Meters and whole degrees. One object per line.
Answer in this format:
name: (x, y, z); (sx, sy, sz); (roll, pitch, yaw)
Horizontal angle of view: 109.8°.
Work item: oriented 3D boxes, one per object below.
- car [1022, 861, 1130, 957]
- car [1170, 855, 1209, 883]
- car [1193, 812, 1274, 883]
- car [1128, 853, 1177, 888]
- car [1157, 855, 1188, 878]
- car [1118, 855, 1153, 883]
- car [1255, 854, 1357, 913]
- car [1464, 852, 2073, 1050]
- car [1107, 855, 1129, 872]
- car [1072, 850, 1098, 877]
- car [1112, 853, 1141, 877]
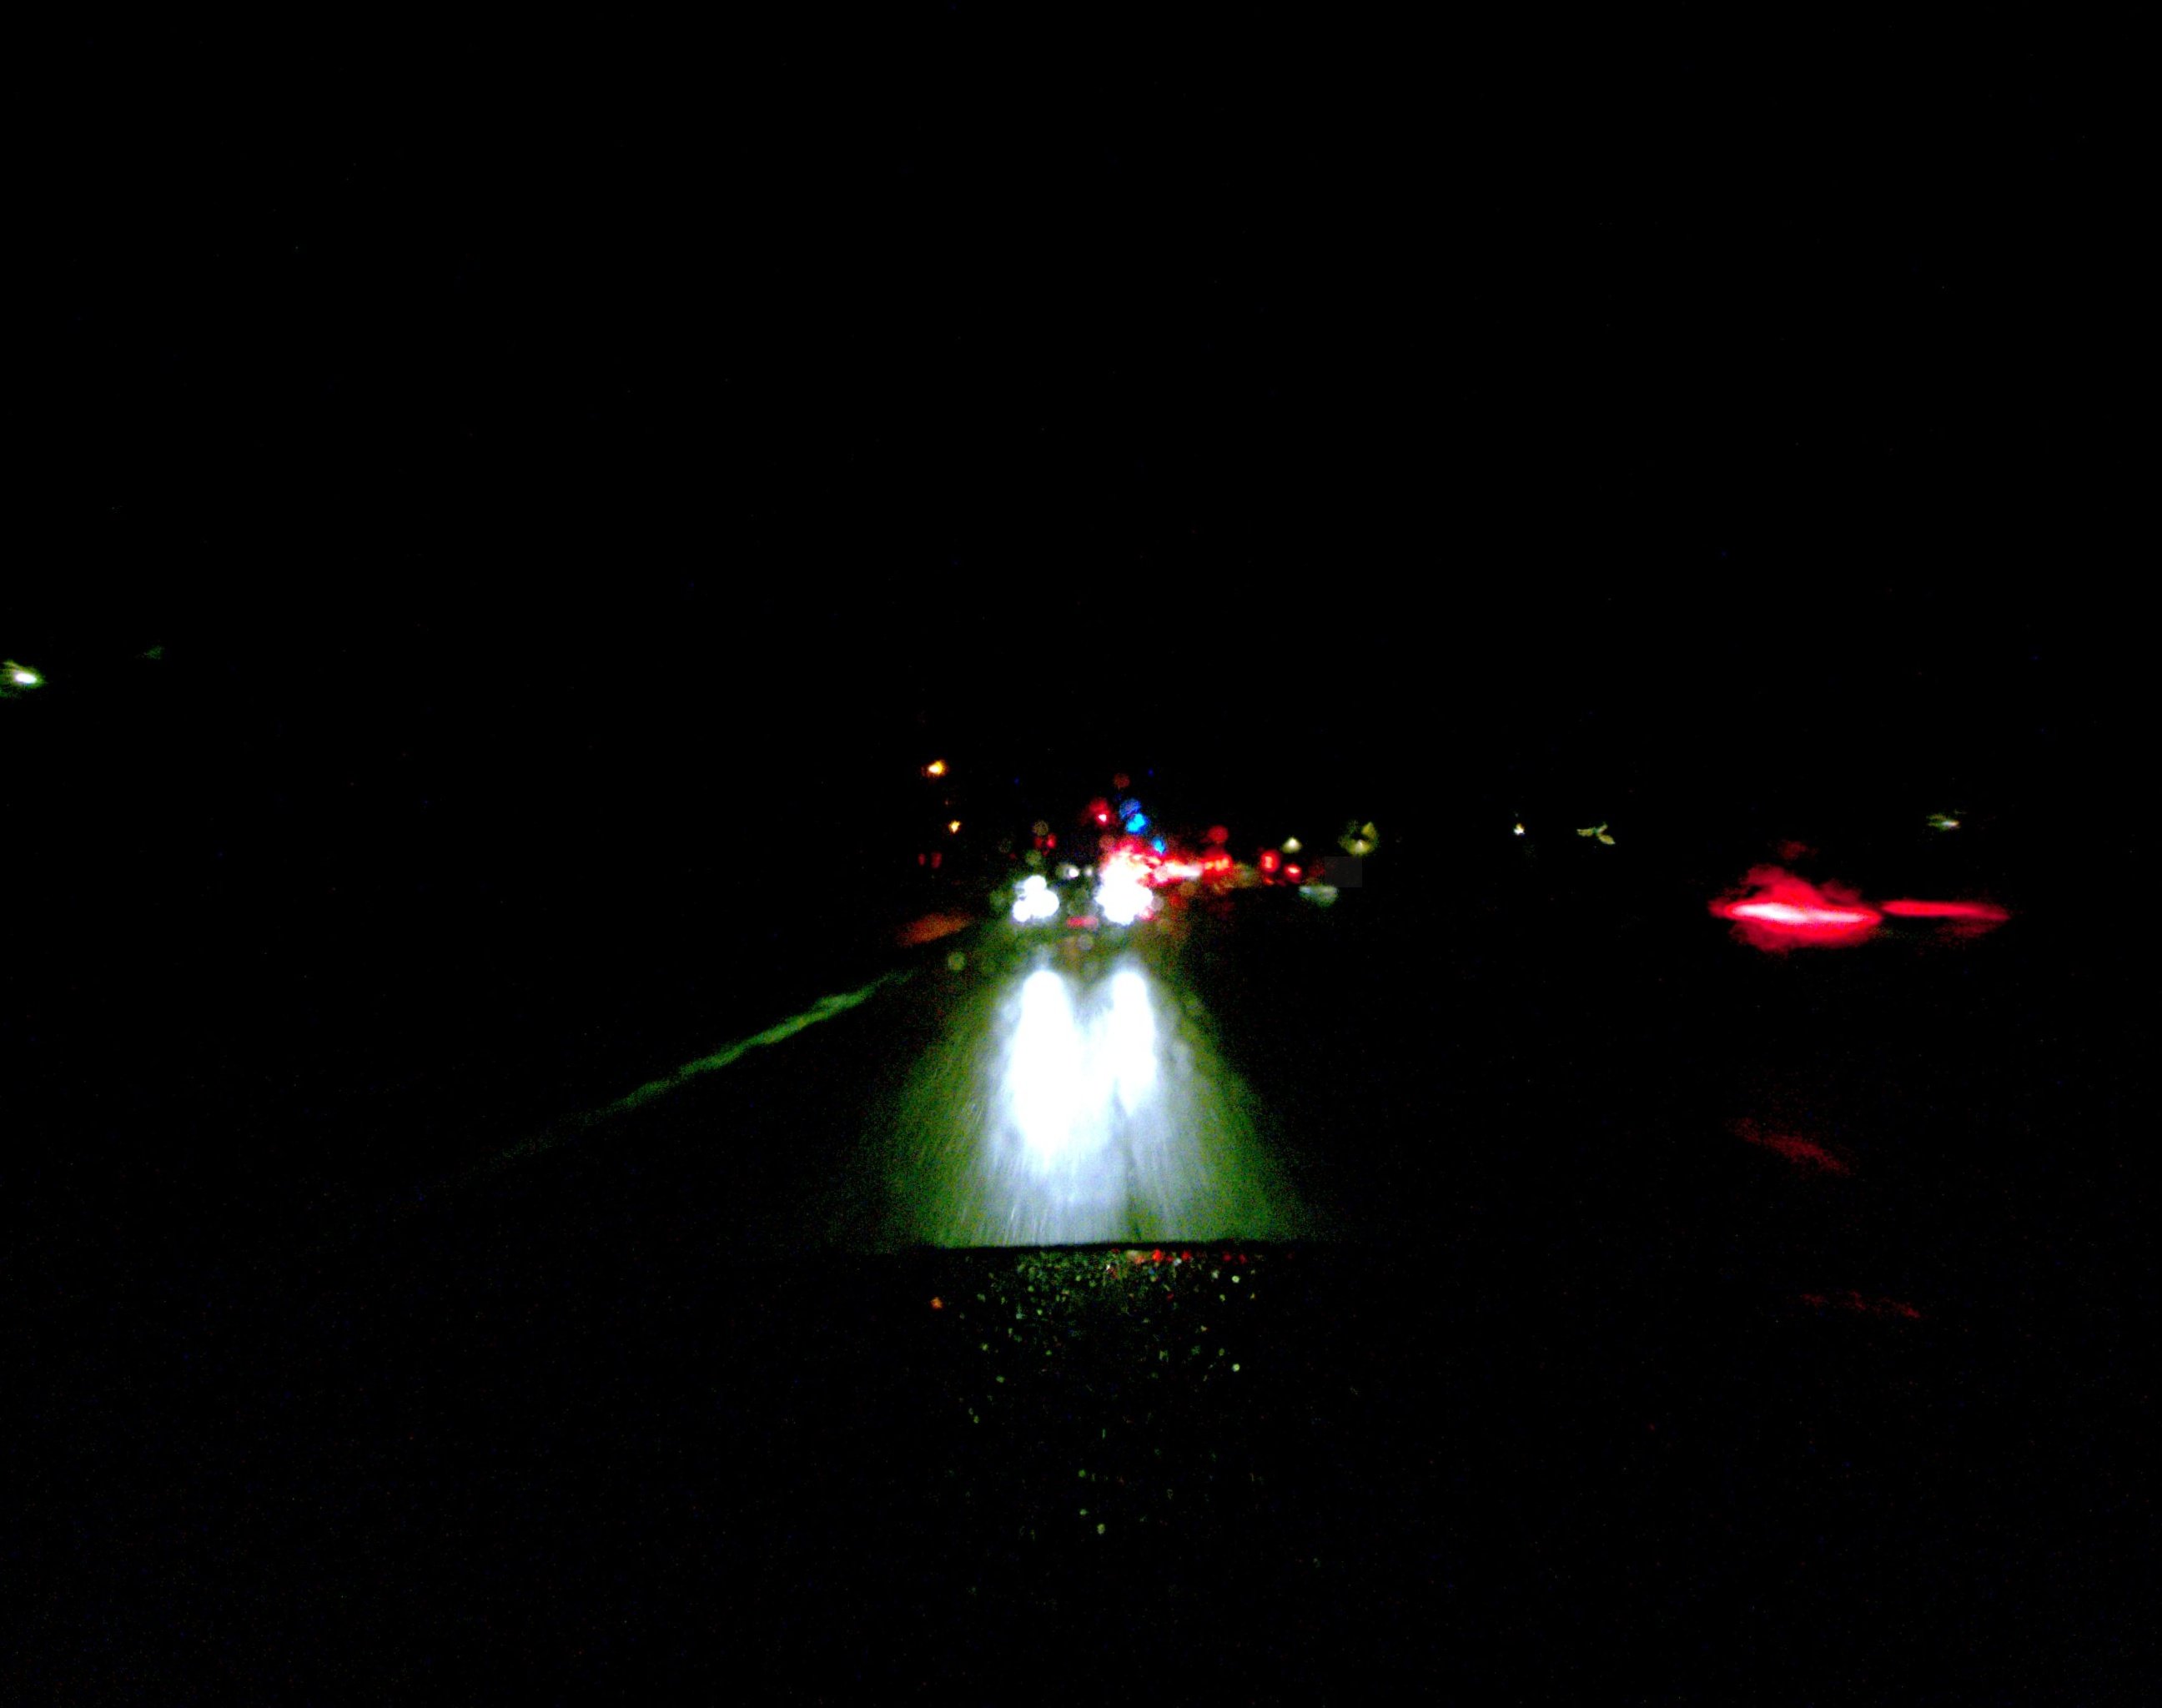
car: (0.063, 0.966, 15.426); (1.809, 1.590, 4.788); (-1, 0, 4)
car: (6.515, 0.878, 45.970); (1.724, 1.579, 4.312); (-2, 0, 0)
car: (6.396, -0.258, 32.703); (2.128, 2.691, 6.240); (-2, 0, 0)
car: (3.623, 0.812, 39.136); (1.810, 1.620, 4.414); (-2, 0, -3)
car: (6.554, 0.886, 54.669); (1.724, 1.499, 3.827); (-2, 0, 1)
car: (3.328, 0.914, 47.252); (1.848, 1.565, 4.597); (-2, 0, 0)
car: (6.545, 0.790, 22.538); (1.883, 1.528, 3.988); (-2, 0, 1)
car: (6.539, 0.752, 8.322); (2.082, 1.441, 4.991); (-2, 0, -1)
car: (3.435, 0.884, 70.965); (1.673, 1.464, 3.633); (-2, 0, -2)
car: (0.309, 0.673, 55.296); (1.759, 1.807, 4.710); (-3, 0, 1)
car: (3.312, 0.791, 56.261); (1.849, 1.659, 4.445); (-2, 0, 0)
